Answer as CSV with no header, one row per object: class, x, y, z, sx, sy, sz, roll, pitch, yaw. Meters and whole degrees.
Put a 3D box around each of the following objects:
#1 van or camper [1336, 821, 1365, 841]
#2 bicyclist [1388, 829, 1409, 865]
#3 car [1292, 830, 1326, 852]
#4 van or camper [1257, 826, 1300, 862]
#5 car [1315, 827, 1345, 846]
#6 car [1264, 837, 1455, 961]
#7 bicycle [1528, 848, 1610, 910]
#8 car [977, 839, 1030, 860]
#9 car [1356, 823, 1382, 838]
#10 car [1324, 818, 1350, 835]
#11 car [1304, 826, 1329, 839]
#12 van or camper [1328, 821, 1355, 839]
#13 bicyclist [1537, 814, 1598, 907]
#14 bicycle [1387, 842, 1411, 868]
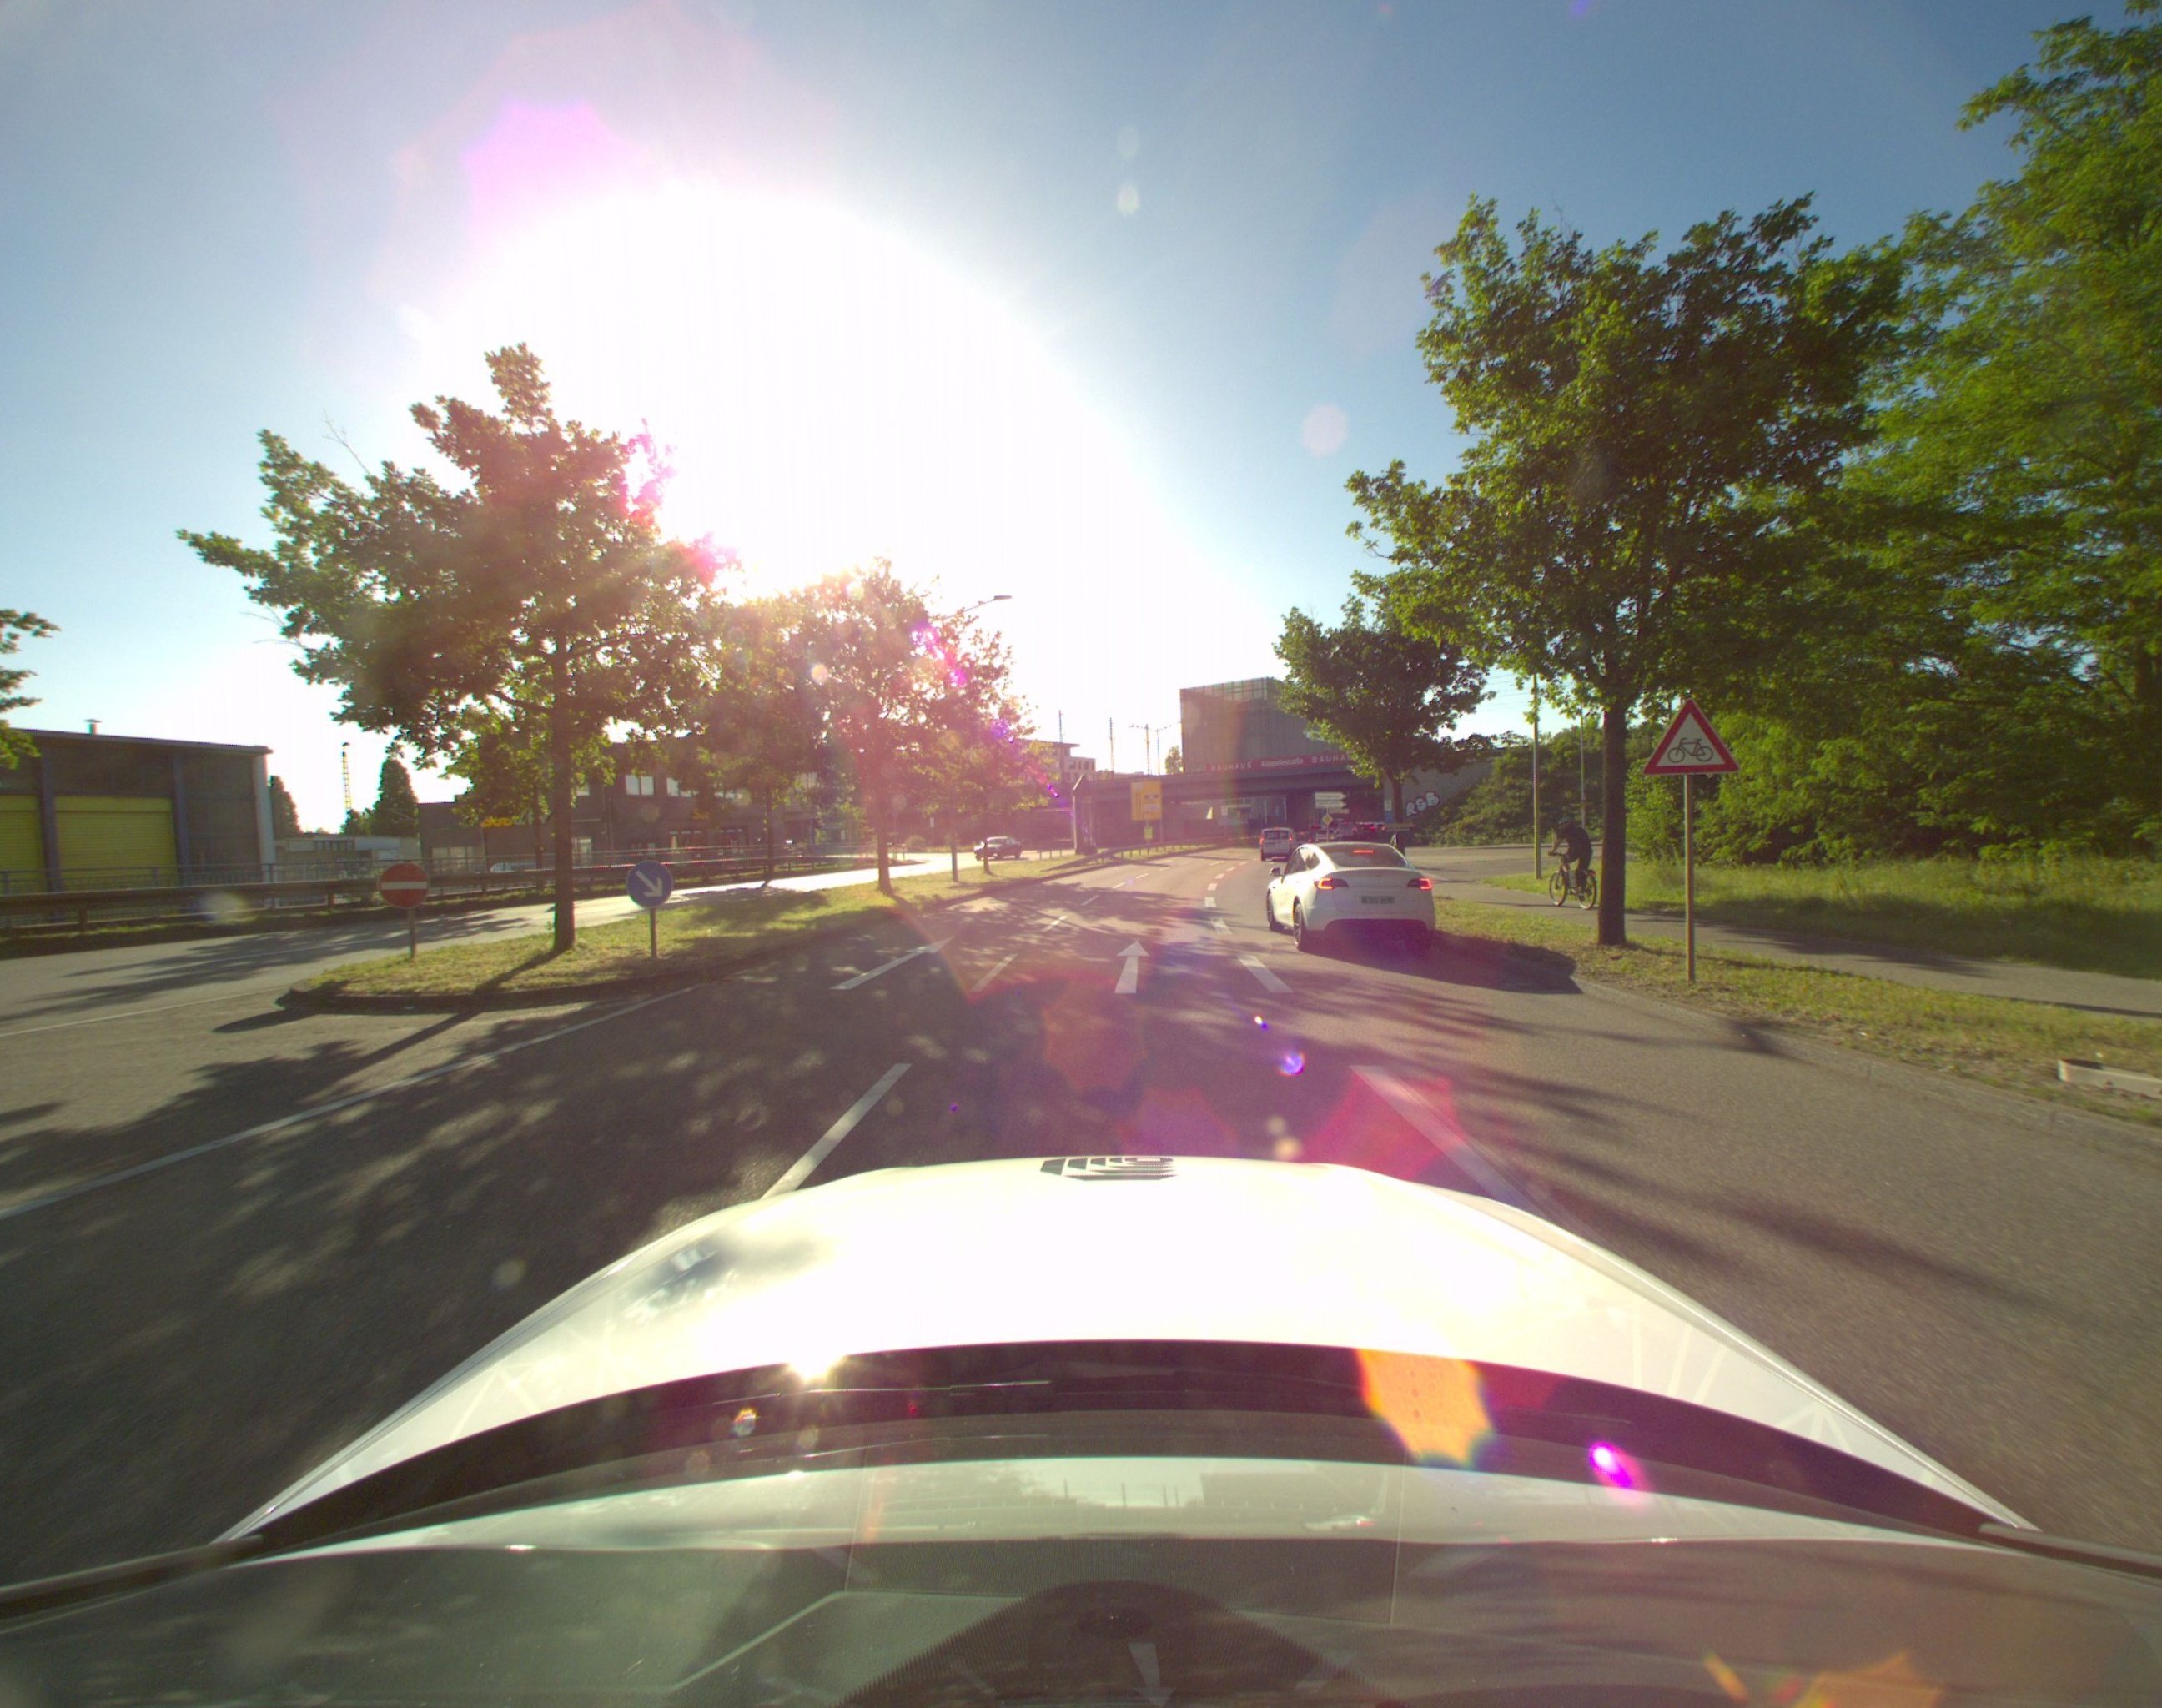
van or camper,26.375,-2.243,79.595,1.808,1.790,4.574,0,2,29
bicyclist,14.871,-0.350,38.139,0.740,1.619,0.917,-4,0,16
car,16.551,-0.945,59.066,1.589,1.434,3.702,0,3,28
van or camper,11.753,-0.630,48.212,1.942,1.883,4.904,-1,2,19
car,21.105,-1.529,68.974,1.747,1.475,4.315,-1,2,26
car,4.223,0.596,13.125,1.905,1.641,4.416,1,0,5
bicycle,9.752,0.464,16.375,0.690,1.095,2.124,-4,1,11
car,-5.183,-0.309,54.851,1.785,1.310,4.638,-1,1,19
car,30.622,-2.515,86.601,1.691,1.522,3.767,-1,2,33
car,31.416,-3.357,99.766,1.848,1.946,4.626,-1,2,33
car,26.991,-2.470,93.152,1.691,1.452,3.767,-1,2,33
van or camper,27.923,-2.570,87.234,1.737,1.813,3.984,-1,2,31
bicyclist,9.709,0.117,16.284,0.671,1.776,0.951,-4,0,11
bicycle,14.856,0.023,38.082,0.737,1.112,2.462,-4,1,16
